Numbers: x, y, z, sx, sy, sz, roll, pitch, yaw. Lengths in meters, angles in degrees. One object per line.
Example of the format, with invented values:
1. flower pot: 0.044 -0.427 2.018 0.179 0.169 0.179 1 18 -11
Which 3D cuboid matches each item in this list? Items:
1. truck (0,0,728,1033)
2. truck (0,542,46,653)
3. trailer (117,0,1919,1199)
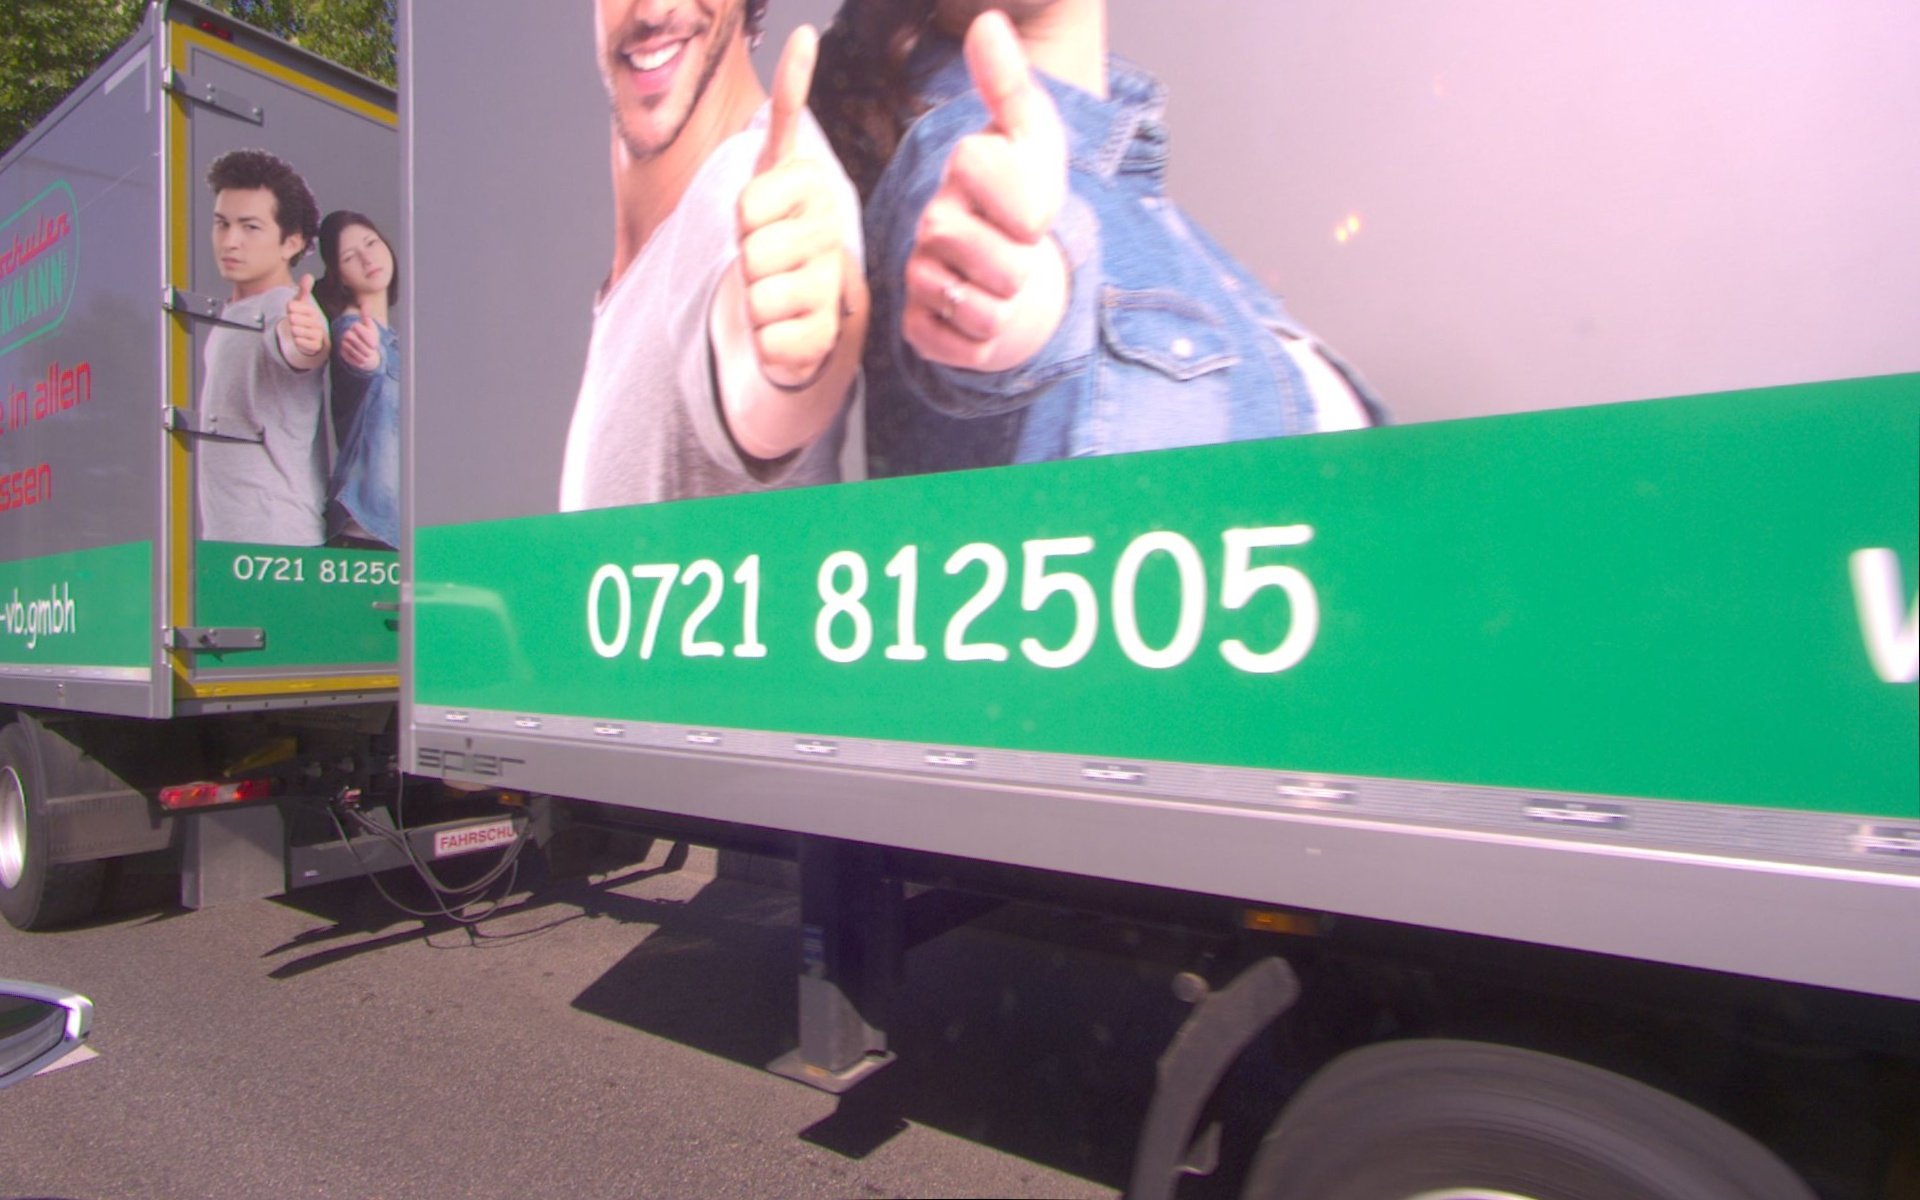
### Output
1. truck: -5.625 -0.383 7.027 8.606 3.940 2.722 -1 -1 35
2. truck: -33.095 -0.140 31.428 2.864 3.689 7.190 0 -2 -7
3. trailer: 1.075 -0.572 2.362 7.630 3.927 2.729 -1 0 34
